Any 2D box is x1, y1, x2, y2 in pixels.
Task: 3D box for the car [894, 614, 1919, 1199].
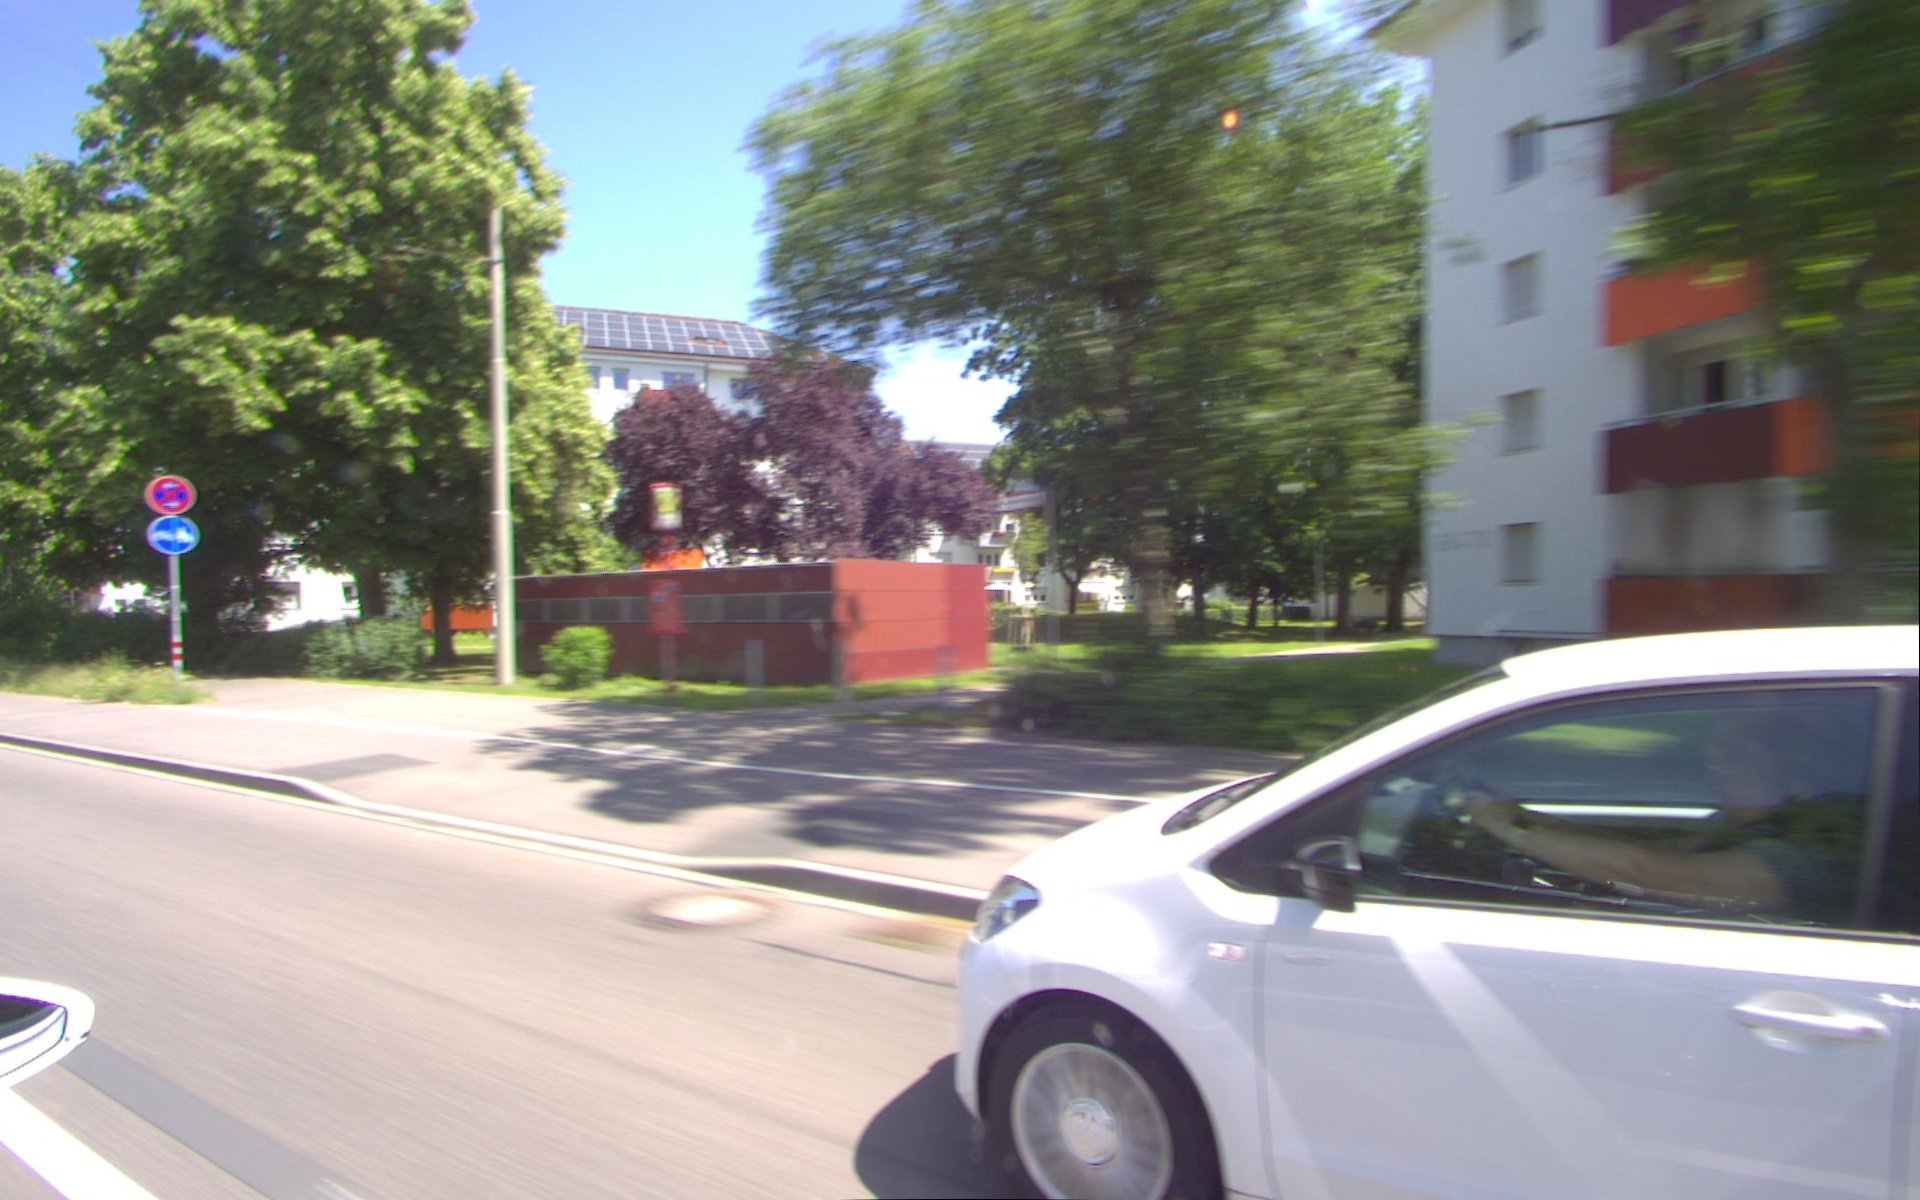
[{"bbox_3d":[1.862,0.775,2.298,3.799,1.468,1.656,-1,-1,32],"label":"car"}]
